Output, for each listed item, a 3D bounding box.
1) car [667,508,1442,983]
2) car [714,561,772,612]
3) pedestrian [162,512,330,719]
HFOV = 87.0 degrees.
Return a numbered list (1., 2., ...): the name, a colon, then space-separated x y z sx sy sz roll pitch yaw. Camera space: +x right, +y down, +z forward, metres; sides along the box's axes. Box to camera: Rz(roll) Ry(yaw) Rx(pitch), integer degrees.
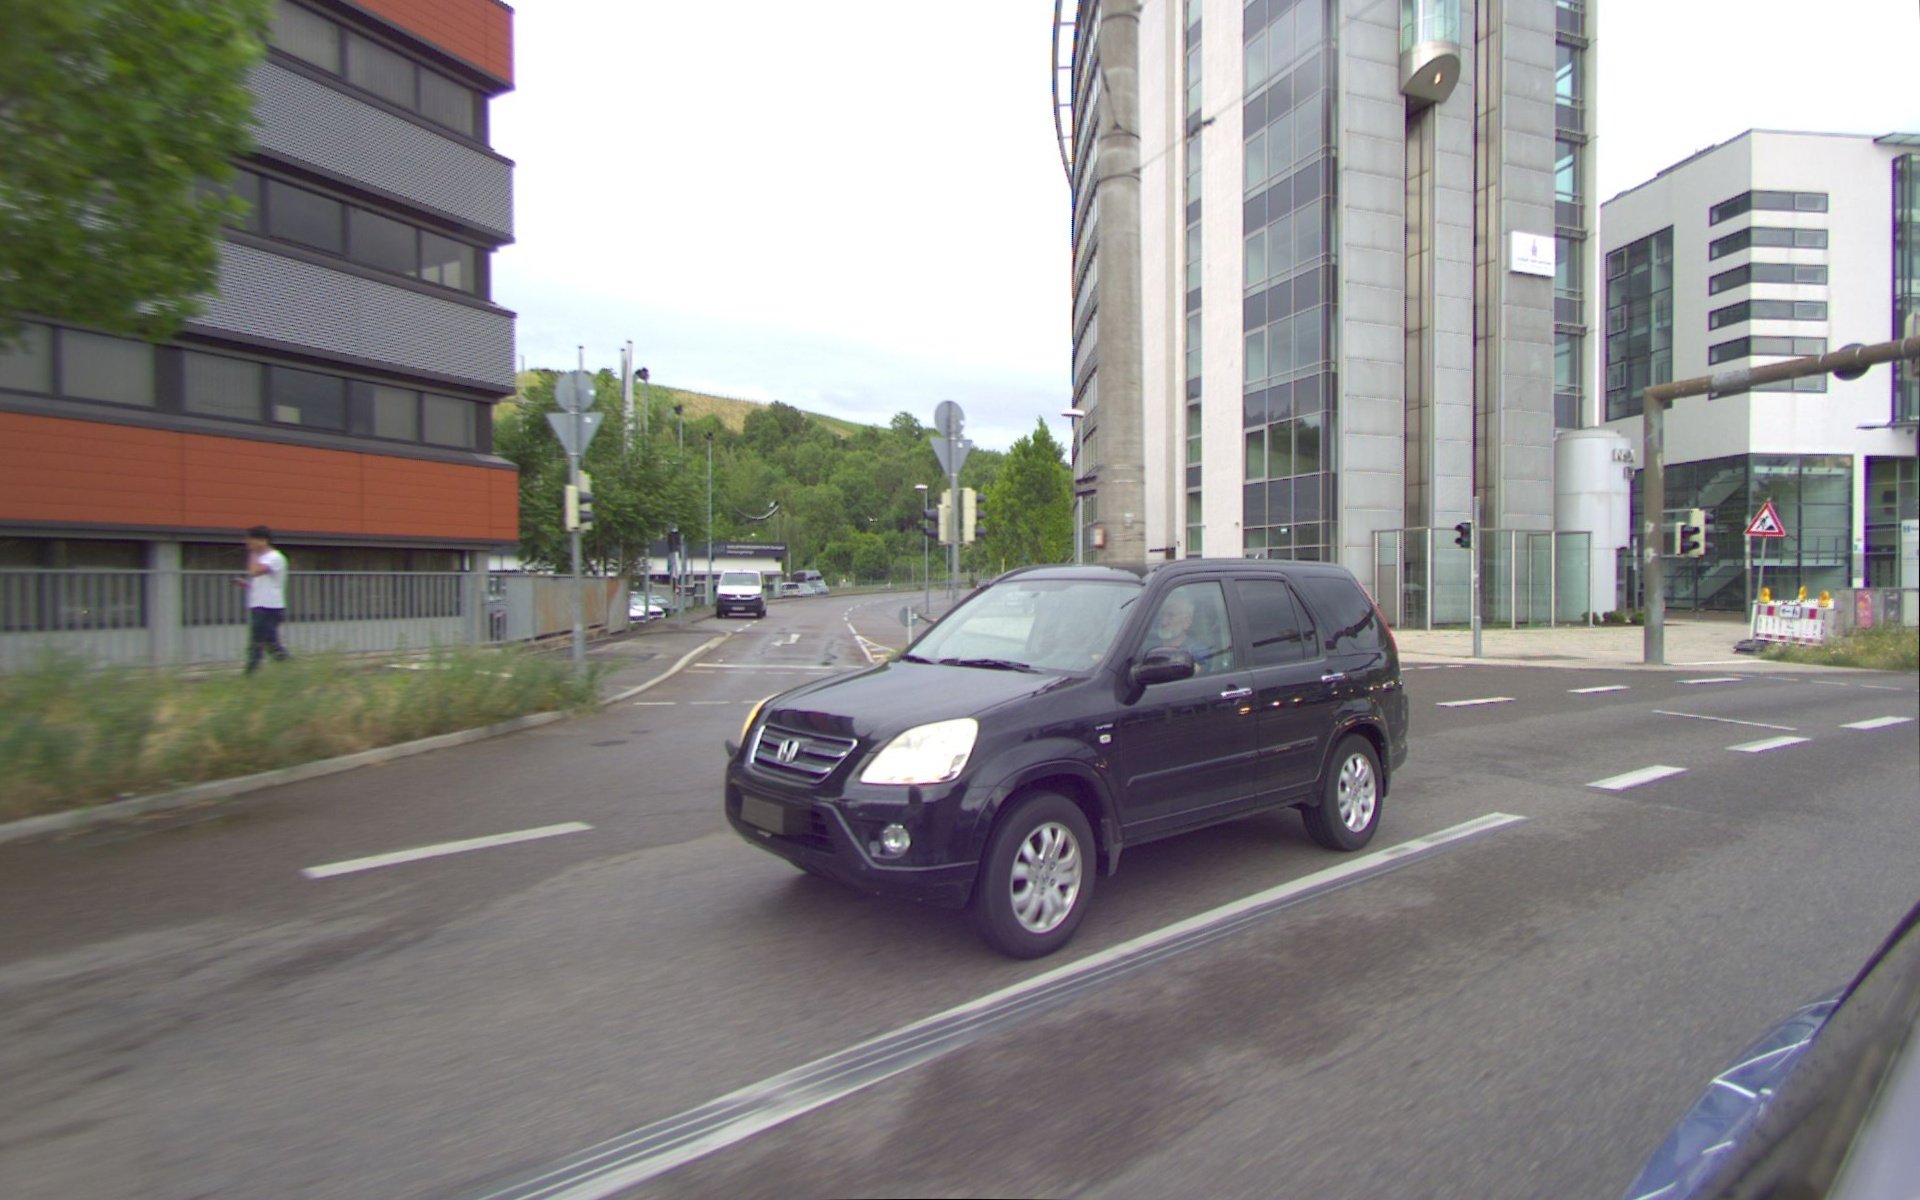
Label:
1. car: 0.769 0.525 5.583 4.247 1.651 1.769 0 -2 -40
2. car: -8.942 -0.535 41.976 1.959 1.940 5.089 1 0 -8
3. pedestrian: -7.867 0.162 11.231 1.196 2.152 1.150 1 1 -18
